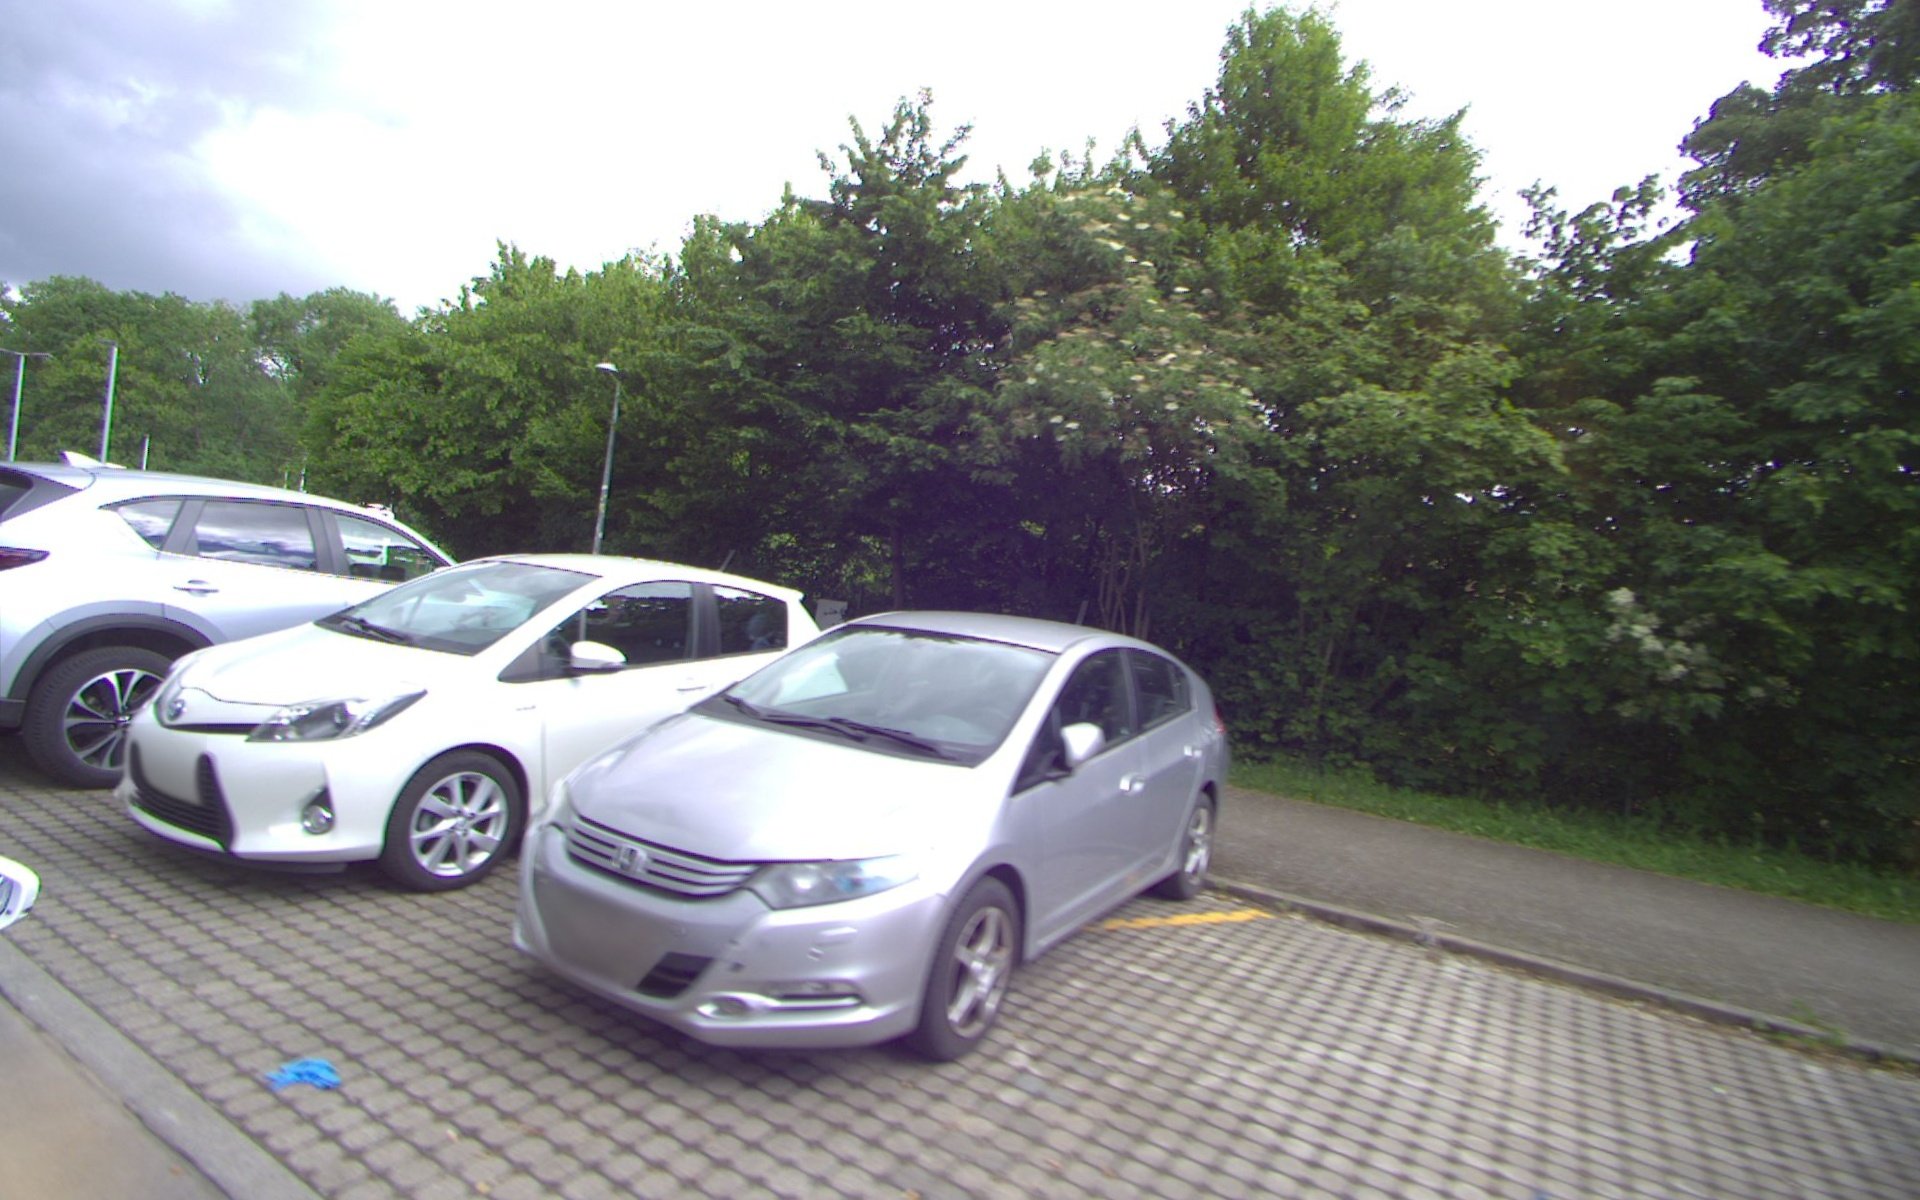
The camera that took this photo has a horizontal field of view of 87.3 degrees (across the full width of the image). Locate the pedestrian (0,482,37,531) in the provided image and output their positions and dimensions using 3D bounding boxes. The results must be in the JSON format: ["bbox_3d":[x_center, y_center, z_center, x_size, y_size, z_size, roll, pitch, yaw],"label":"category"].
[{"bbox_3d":[-37.745,-3.731,40.127,0.946,1.768,1.055,7,0,-28],"label":"pedestrian"}]

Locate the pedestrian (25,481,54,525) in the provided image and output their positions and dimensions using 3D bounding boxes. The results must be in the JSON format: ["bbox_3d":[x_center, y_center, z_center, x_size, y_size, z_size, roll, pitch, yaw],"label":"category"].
[{"bbox_3d":[-39.873,-4.184,43.577,0.717,1.769,0.946,7,0,-40],"label":"pedestrian"}]

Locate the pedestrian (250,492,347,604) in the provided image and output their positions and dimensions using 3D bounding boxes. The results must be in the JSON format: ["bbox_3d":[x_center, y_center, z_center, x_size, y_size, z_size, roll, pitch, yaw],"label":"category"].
[{"bbox_3d":[-11.850,-0.907,18.058,0.841,1.844,0.985,7,0,6],"label":"pedestrian"}]

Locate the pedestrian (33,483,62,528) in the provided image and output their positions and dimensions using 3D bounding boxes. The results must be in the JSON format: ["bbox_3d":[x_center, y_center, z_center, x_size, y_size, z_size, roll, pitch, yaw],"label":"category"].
[{"bbox_3d":[-38.868,-4.007,42.845,0.717,1.769,0.946,7,0,-40],"label":"pedestrian"}]

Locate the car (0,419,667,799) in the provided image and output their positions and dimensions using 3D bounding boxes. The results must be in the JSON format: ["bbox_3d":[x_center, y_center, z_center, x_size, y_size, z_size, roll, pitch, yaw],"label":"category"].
[{"bbox_3d":[-4.493,0.021,6.853,2.034,1.775,4.655,7,1,27],"label":"car"}]

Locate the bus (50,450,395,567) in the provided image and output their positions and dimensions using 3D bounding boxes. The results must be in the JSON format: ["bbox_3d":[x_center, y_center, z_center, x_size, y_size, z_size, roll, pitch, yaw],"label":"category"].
[{"bbox_3d":[-32.629,-3.896,45.310,2.640,3.242,12.131,7,-1,44],"label":"bus"}]

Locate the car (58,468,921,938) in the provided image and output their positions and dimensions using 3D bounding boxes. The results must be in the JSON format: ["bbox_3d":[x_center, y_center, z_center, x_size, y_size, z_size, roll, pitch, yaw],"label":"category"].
[{"bbox_3d":[-2.131,0.447,5.810,1.765,1.605,4.162,7,0,29],"label":"car"}]

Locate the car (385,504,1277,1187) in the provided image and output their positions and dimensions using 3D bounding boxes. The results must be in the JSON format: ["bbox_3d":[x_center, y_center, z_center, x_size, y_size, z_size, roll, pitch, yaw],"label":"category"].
[{"bbox_3d":[0.025,0.672,4.883,1.879,1.582,4.482,7,1,29],"label":"car"}]
